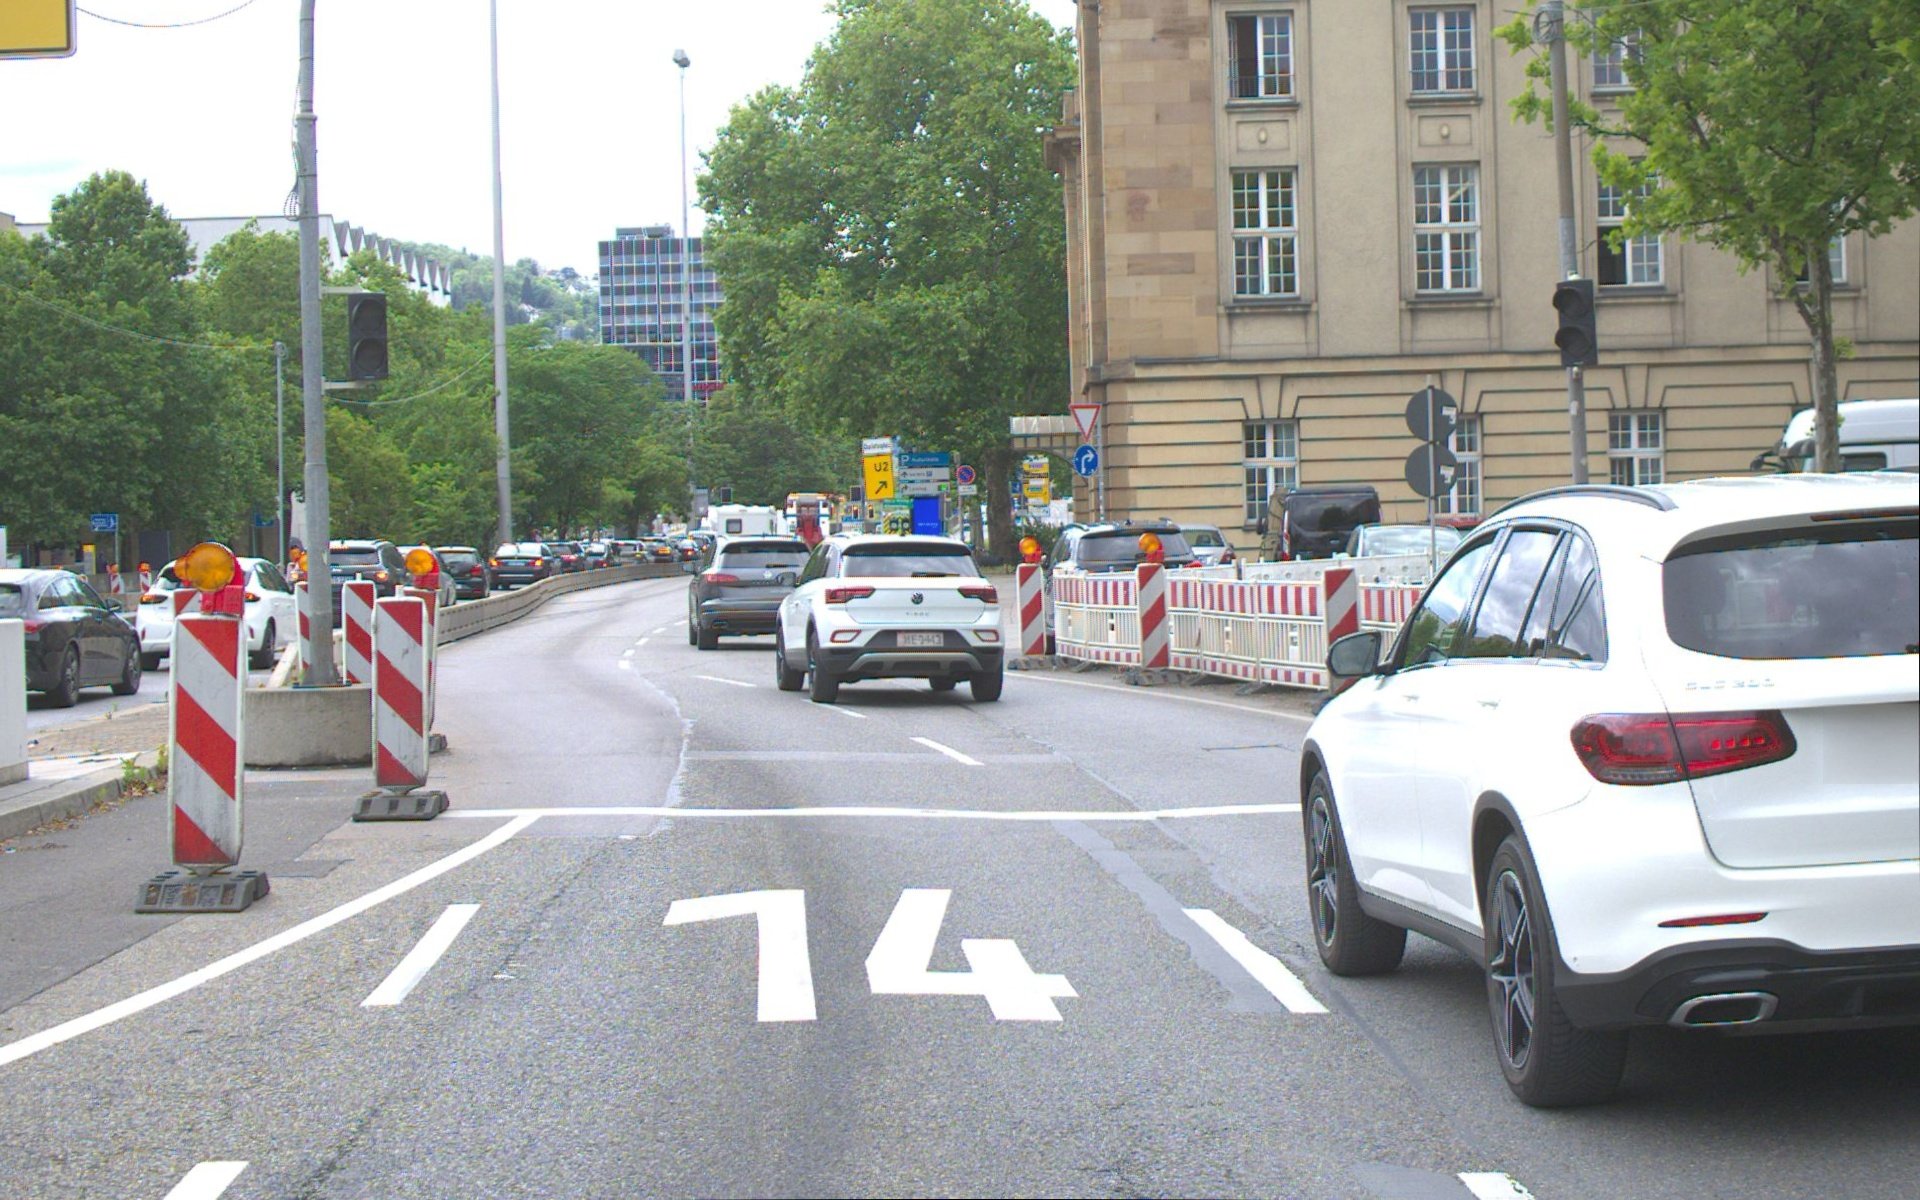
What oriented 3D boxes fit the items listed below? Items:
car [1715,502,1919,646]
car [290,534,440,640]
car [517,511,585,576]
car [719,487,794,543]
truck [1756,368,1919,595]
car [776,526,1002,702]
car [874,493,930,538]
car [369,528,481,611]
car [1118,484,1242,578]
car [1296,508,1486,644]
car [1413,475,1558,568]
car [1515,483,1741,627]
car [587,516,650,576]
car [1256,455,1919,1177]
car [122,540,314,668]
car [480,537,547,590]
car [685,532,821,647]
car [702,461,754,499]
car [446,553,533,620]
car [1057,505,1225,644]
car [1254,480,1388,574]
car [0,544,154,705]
[{"bbox_3d":[10.201,-0.310,39.905,1.856,1.562,4.331,-1,0,0],"label":"car"},{"bbox_3d":[-9.748,-0.233,56.529,1.750,1.562,3.377,-4,1,0],"label":"car"},{"bbox_3d":[-13.819,-1.943,116.424,1.993,2.006,4.001,-2,3,-4],"label":"car"},{"bbox_3d":[-9.052,-3.793,153.232,2.582,2.366,5.526,-2,2,4],"label":"car"},{"bbox_3d":[16.463,-1.740,47.951,10.029,3.040,2.569,-2,0,0],"label":"truck"},{"bbox_3d":[-0.753,0.101,33.282,1.750,1.562,4.332,-1,1,-7],"label":"car"},{"bbox_3d":[-3.154,-4.630,188.075,2.582,2.366,5.526,-2,2,4],"label":"car"},{"bbox_3d":[-10.677,-0.624,68.824,1.750,1.562,4.332,-1,1,-3],"label":"car"},{"bbox_3d":[3.862,-1.194,60.909,1.856,1.562,4.331,-1,0,0],"label":"car"},{"bbox_3d":[5.282,-0.301,42.606,1.750,1.562,4.331,-1,0,0],"label":"car"},{"bbox_3d":[9.296,-1.363,61.118,1.856,1.562,4.331,-1,0,0],"label":"car"},{"bbox_3d":[7.750,-0.512,40.258,1.750,1.562,4.331,-1,0,0],"label":"car"},{"bbox_3d":[-12.543,-2.002,126.317,1.993,2.006,4.001,-2,3,-2],"label":"car"},{"bbox_3d":[2.187,0.427,10.411,1.811,1.637,4.553,-4,2,-4],"label":"car"},{"bbox_3d":[-9.735,0.019,45.338,1.750,1.562,3.377,-1,1,0],"label":"car"},{"bbox_3d":[-13.835,-1.147,106.677,1.750,1.562,4.332,-1,1,-3],"label":"car"},{"bbox_3d":[-3.128,-0.186,51.308,1.823,1.562,4.481,1,1,-6],"label":"car"},{"bbox_3d":[-15.261,-7.874,226.486,2.582,2.366,5.526,-2,2,4],"label":"car"},{"bbox_3d":[-11.449,-0.354,83.861,1.750,1.562,4.332,-1,1,-4],"label":"car"},{"bbox_3d":[2.137,-0.311,41.669,1.750,1.562,4.331,-1,0,0],"label":"car"},{"bbox_3d":[6.328,-1.255,60.672,1.856,1.562,4.331,-1,0,0],"label":"car"},{"bbox_3d":[-9.817,0.220,35.857,1.750,1.562,4.331,-1,1,0],"label":"car"}]
